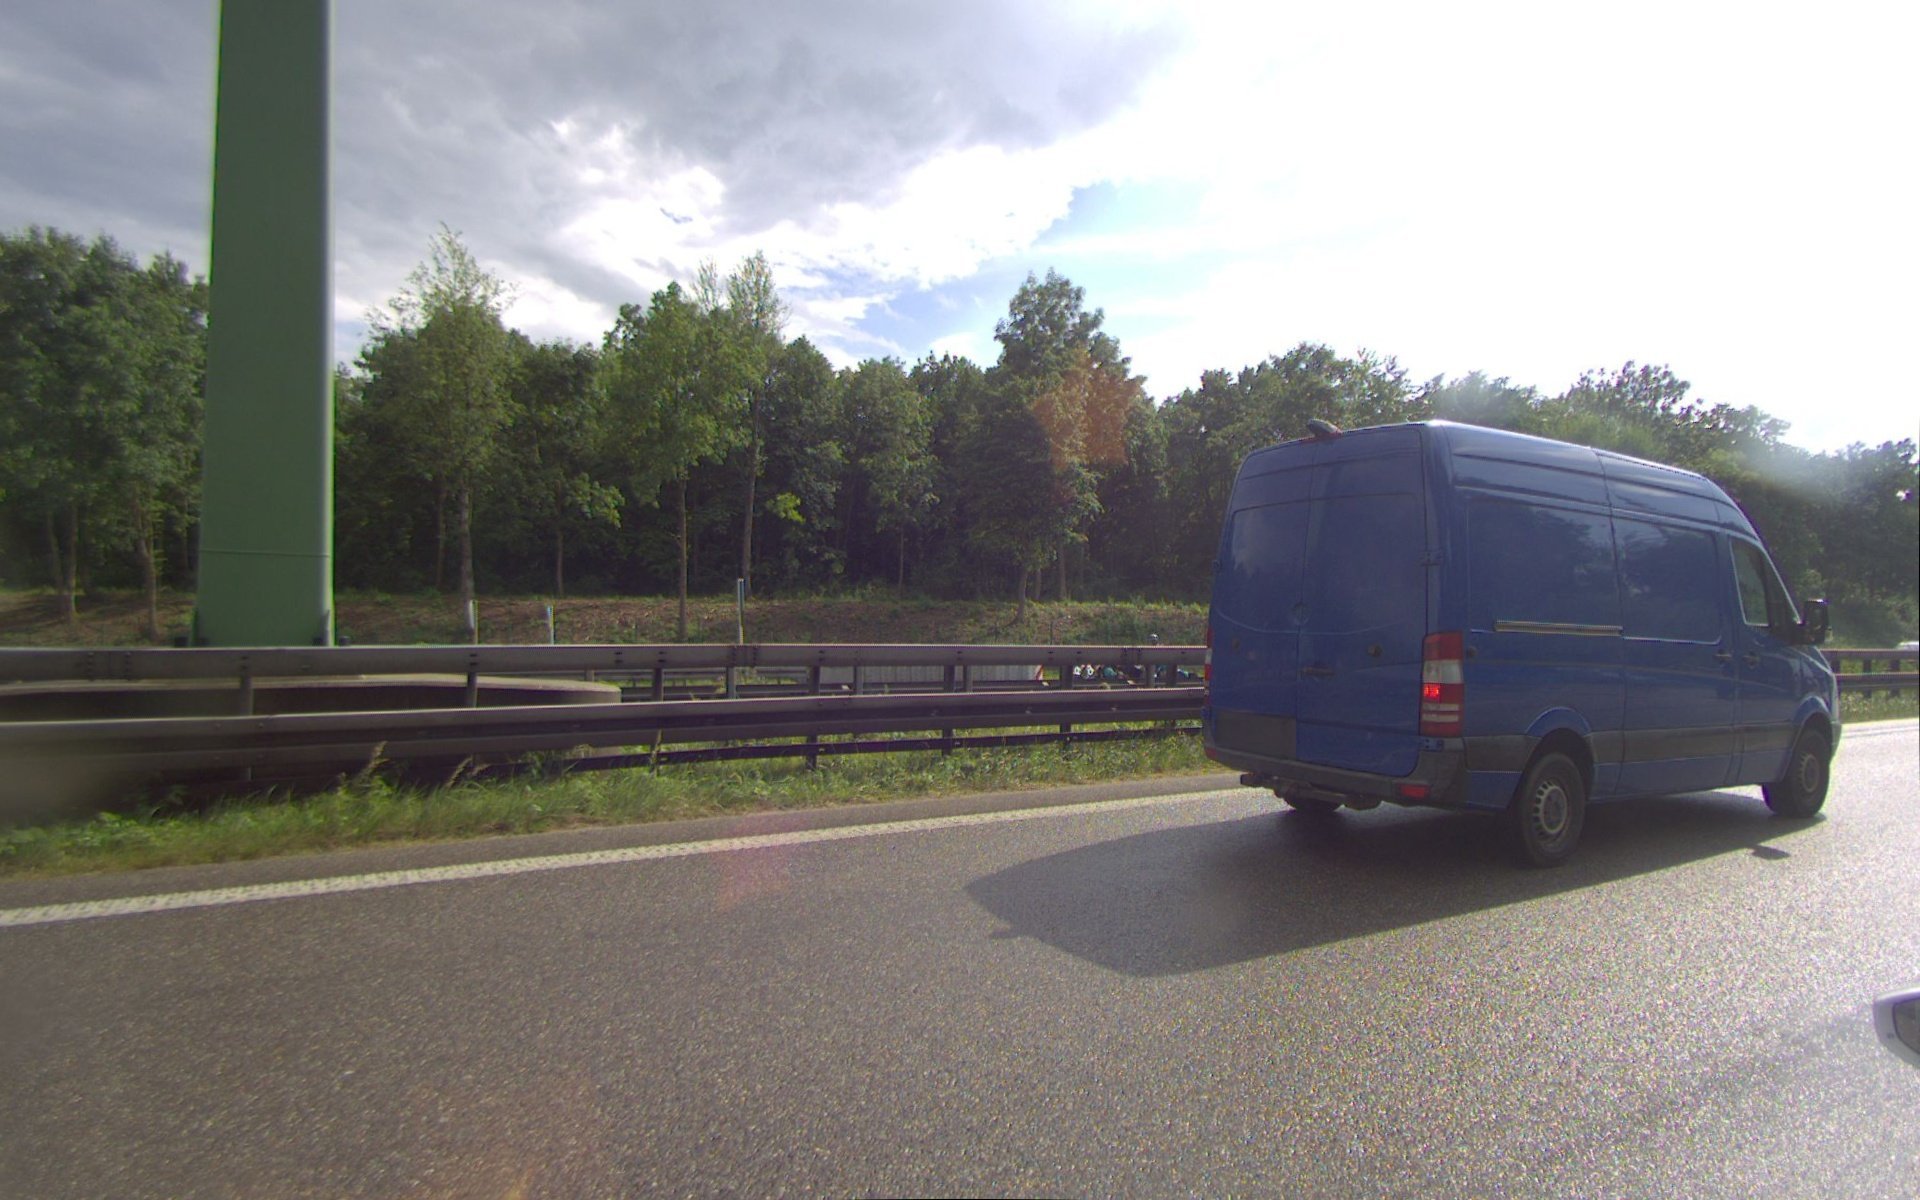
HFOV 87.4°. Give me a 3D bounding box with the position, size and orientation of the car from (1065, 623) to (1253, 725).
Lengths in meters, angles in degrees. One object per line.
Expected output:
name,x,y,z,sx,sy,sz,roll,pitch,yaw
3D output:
car,4.529,1.598,22.791,3.953,2.041,1.823,1,1,-30

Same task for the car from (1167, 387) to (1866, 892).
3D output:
car,4.437,0.282,7.650,5.709,2.684,2.006,2,-1,-30
